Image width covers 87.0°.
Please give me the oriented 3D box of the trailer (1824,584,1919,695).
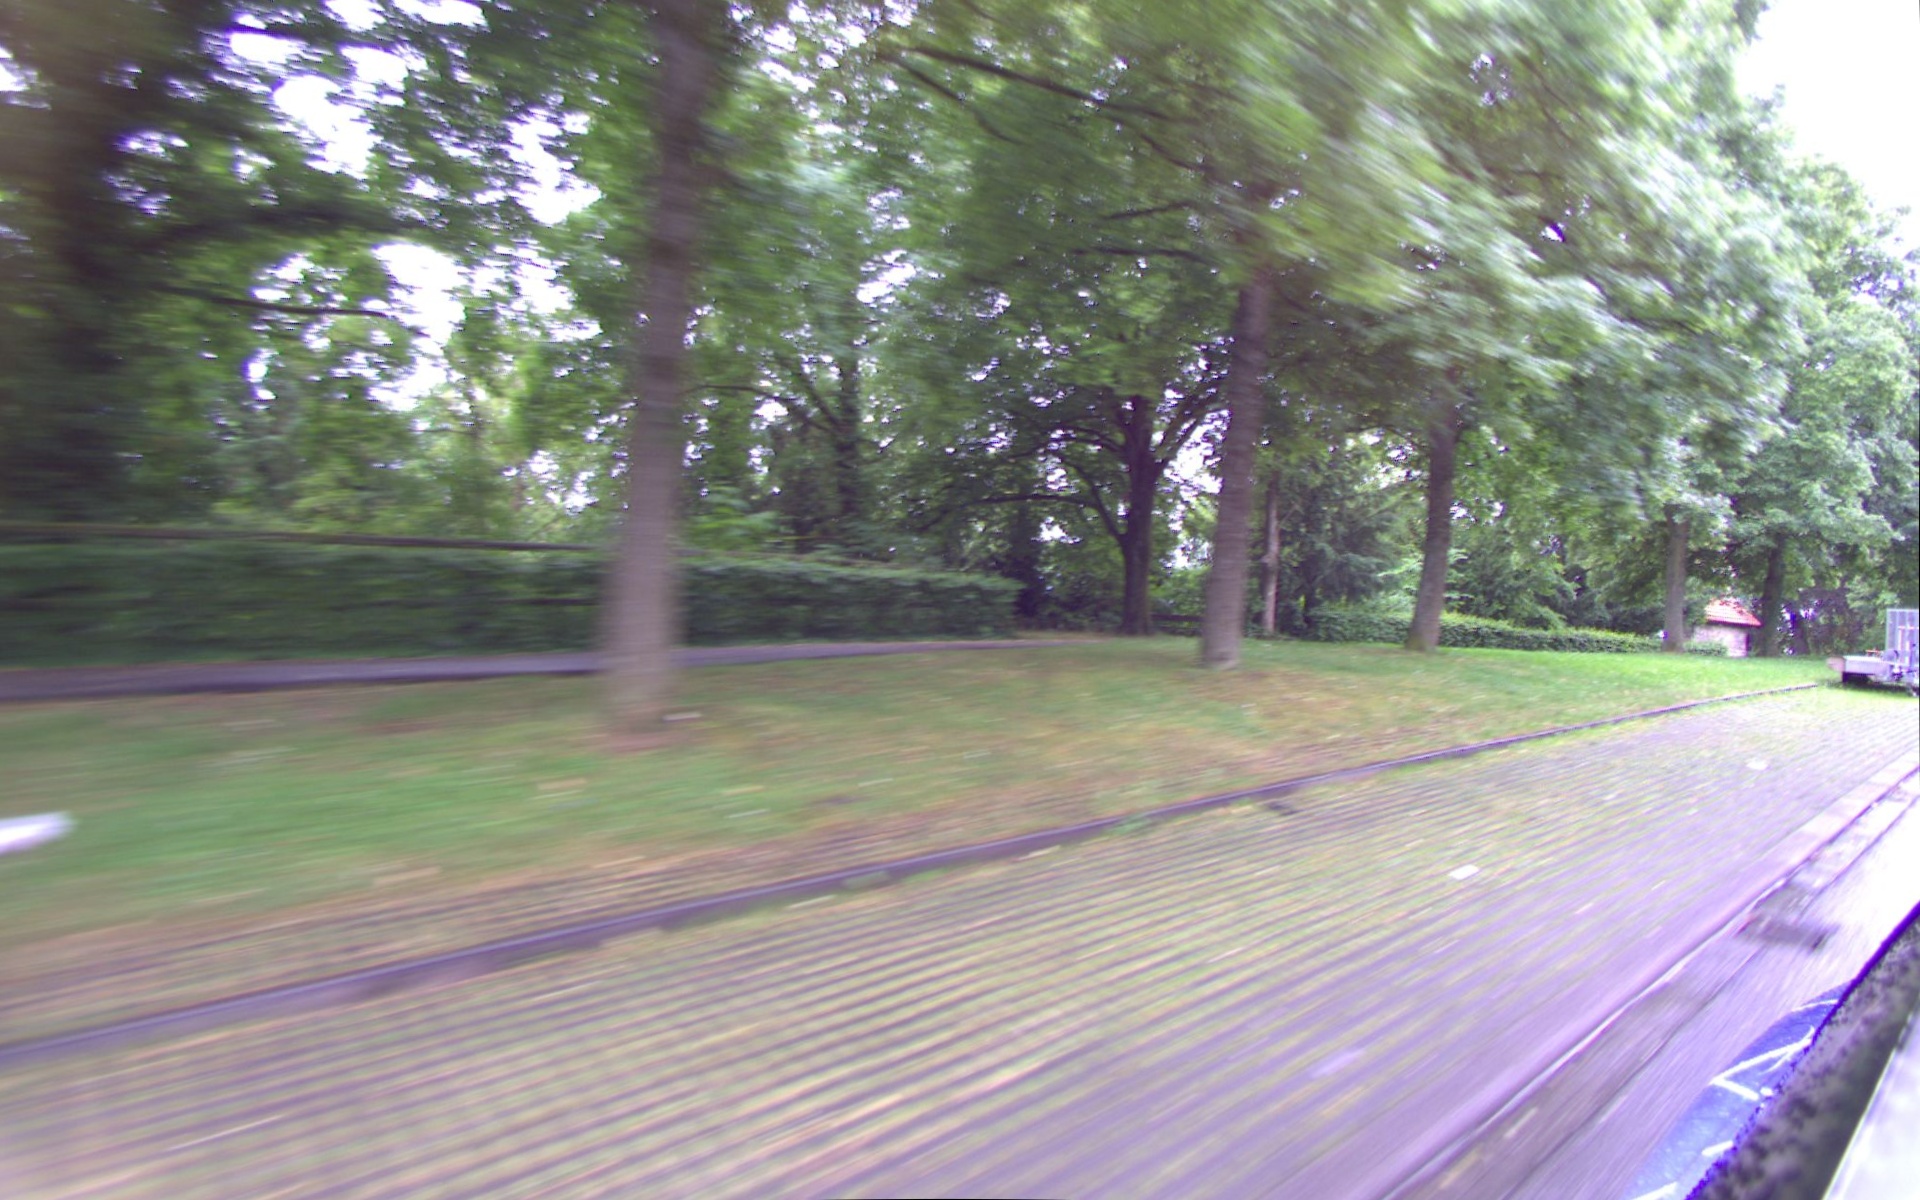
[{"bbox_3d":[18.498,0.727,18.980,5.785,1.835,2.456,1,2,-39],"label":"trailer"}]
